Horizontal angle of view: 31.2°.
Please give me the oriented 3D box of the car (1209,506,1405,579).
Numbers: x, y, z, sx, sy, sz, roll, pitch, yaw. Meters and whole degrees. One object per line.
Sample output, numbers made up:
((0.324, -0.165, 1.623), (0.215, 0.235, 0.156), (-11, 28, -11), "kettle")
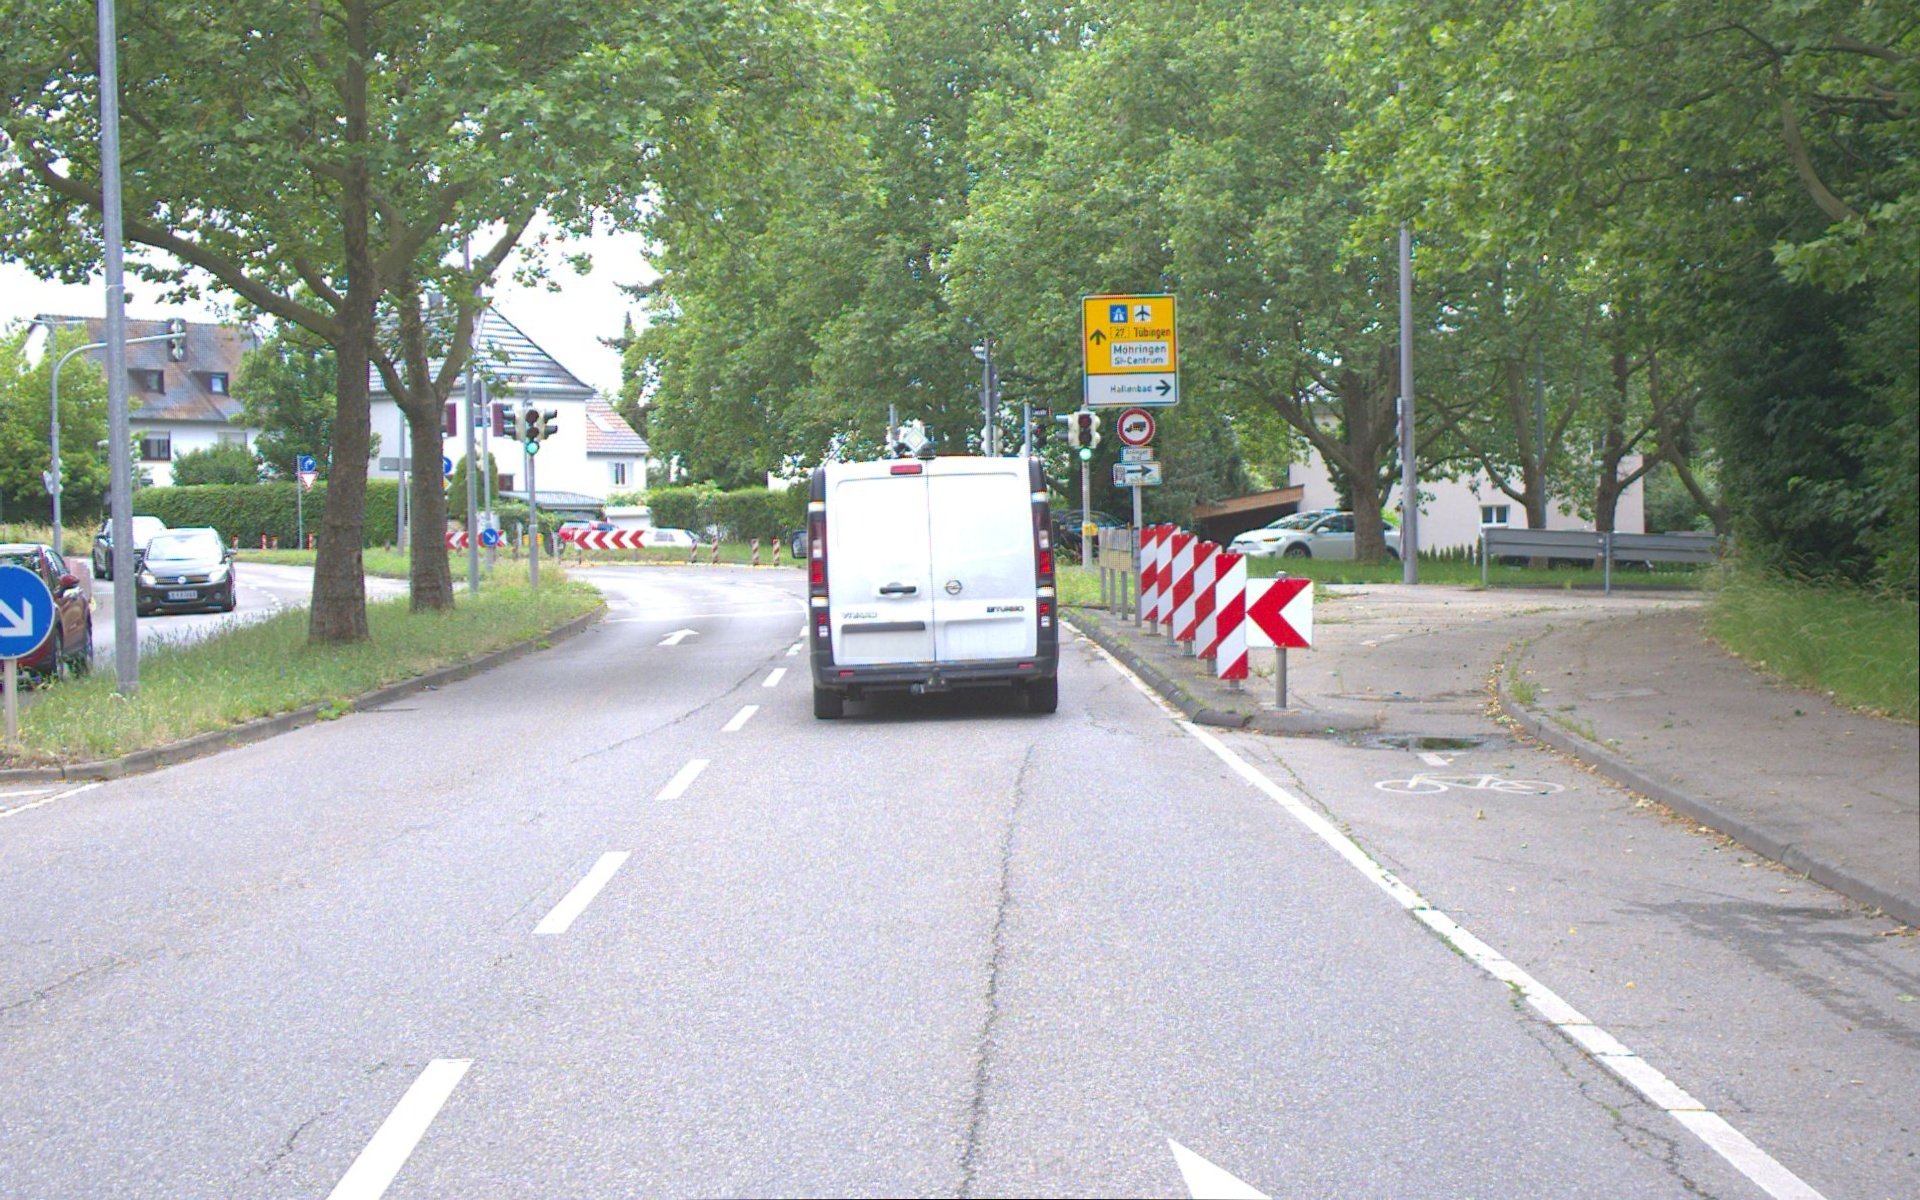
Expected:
((8.685, -1.460, 85.956), (4.730, 1.763, 2.000), (-1, 2, -35), "car")

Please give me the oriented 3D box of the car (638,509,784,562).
((-8.575, -2.213, 118.115), (4.738, 1.763, 1.996), (0, 1, 33), "car")

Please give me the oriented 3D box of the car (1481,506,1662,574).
((16.278, -1.614, 91.380), (4.730, 1.763, 2.000), (-1, 2, -35), "car")

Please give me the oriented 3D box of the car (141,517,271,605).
((-14.447, -0.754, 66.078), (1.997, 1.582, 3.998), (-2, 1, -7), "car")

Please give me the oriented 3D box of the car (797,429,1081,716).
((-0.269, -0.217, 27.406), (2.006, 2.031, 5.010), (-1, 0, -3), "car")
